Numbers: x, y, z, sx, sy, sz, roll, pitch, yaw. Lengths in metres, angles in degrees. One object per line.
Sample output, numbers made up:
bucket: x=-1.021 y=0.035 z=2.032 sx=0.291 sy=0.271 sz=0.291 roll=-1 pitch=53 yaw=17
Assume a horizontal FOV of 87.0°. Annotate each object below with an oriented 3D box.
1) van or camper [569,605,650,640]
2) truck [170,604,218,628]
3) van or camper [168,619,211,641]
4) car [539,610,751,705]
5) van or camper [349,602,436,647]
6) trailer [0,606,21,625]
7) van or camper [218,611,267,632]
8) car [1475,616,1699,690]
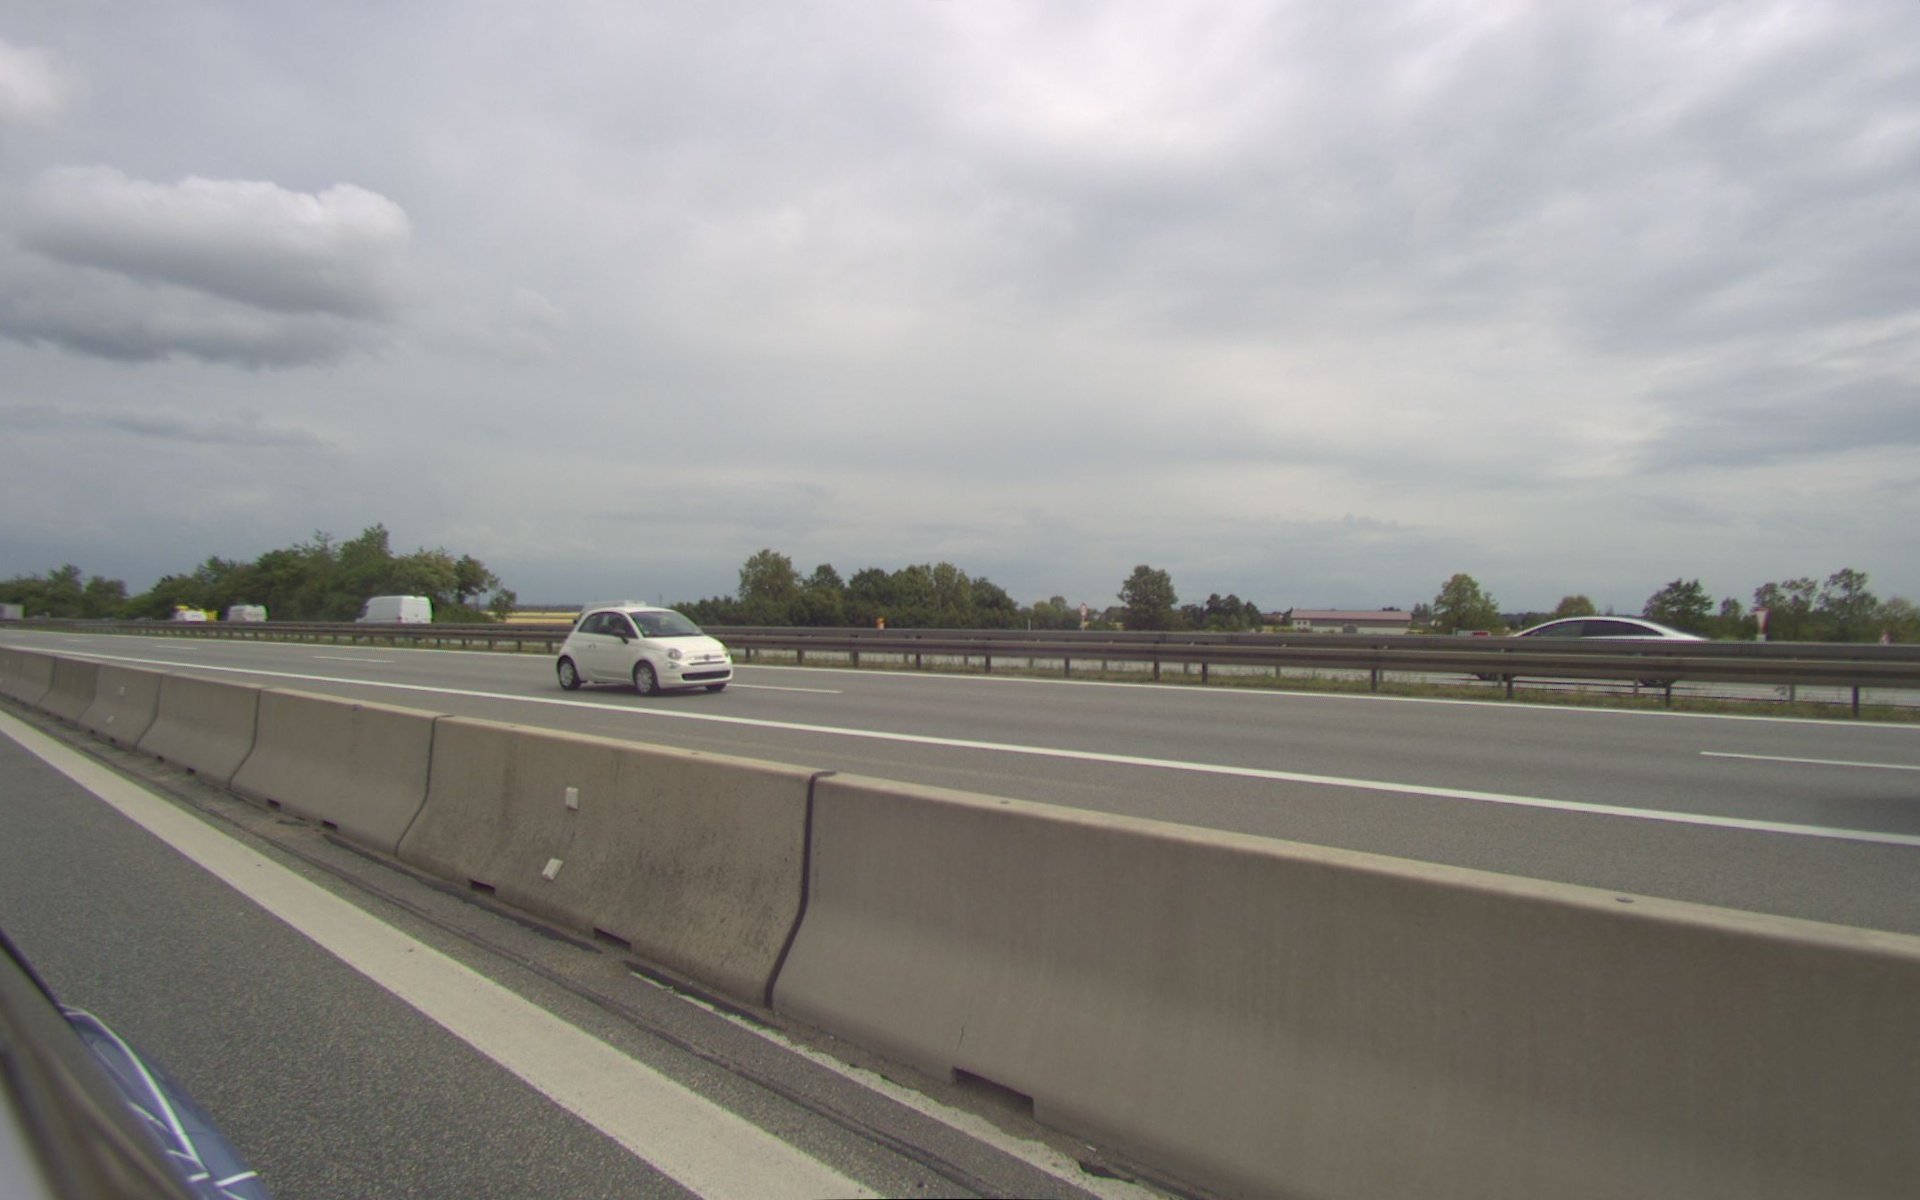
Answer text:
van or camper: x=-22.918 y=1.470 z=66.007 sx=5.800 sy=2.188 sz=2.166 roll=-1 pitch=-1 yaw=37
truck: x=-95.274 y=1.998 z=125.752 sx=8.773 sy=2.795 sz=2.877 roll=-1 pitch=-1 yaw=40
van or camper: x=-66.144 y=2.559 z=86.890 sx=4.343 sy=1.842 sz=1.974 roll=-1 pitch=-1 yaw=39
car: x=-5.586 y=0.937 z=17.806 sx=3.767 sy=1.496 sz=1.665 roll=-1 pitch=-1 yaw=37
van or camper: x=-34.795 y=1.470 z=61.995 sx=6.895 sy=2.639 sz=2.166 roll=-1 pitch=-1 yaw=38
trailer: x=-167.851 y=2.716 z=177.525 sx=9.810 sy=3.294 sz=3.167 roll=-1 pitch=-1 yaw=38
van or camper: x=-72.631 y=2.187 z=102.423 sx=6.266 sy=2.029 sz=2.215 roll=-1 pitch=-1 yaw=36
car: x=13.704 y=1.106 z=22.239 sx=3.997 sy=1.475 sz=1.507 roll=-1 pitch=-1 yaw=40
